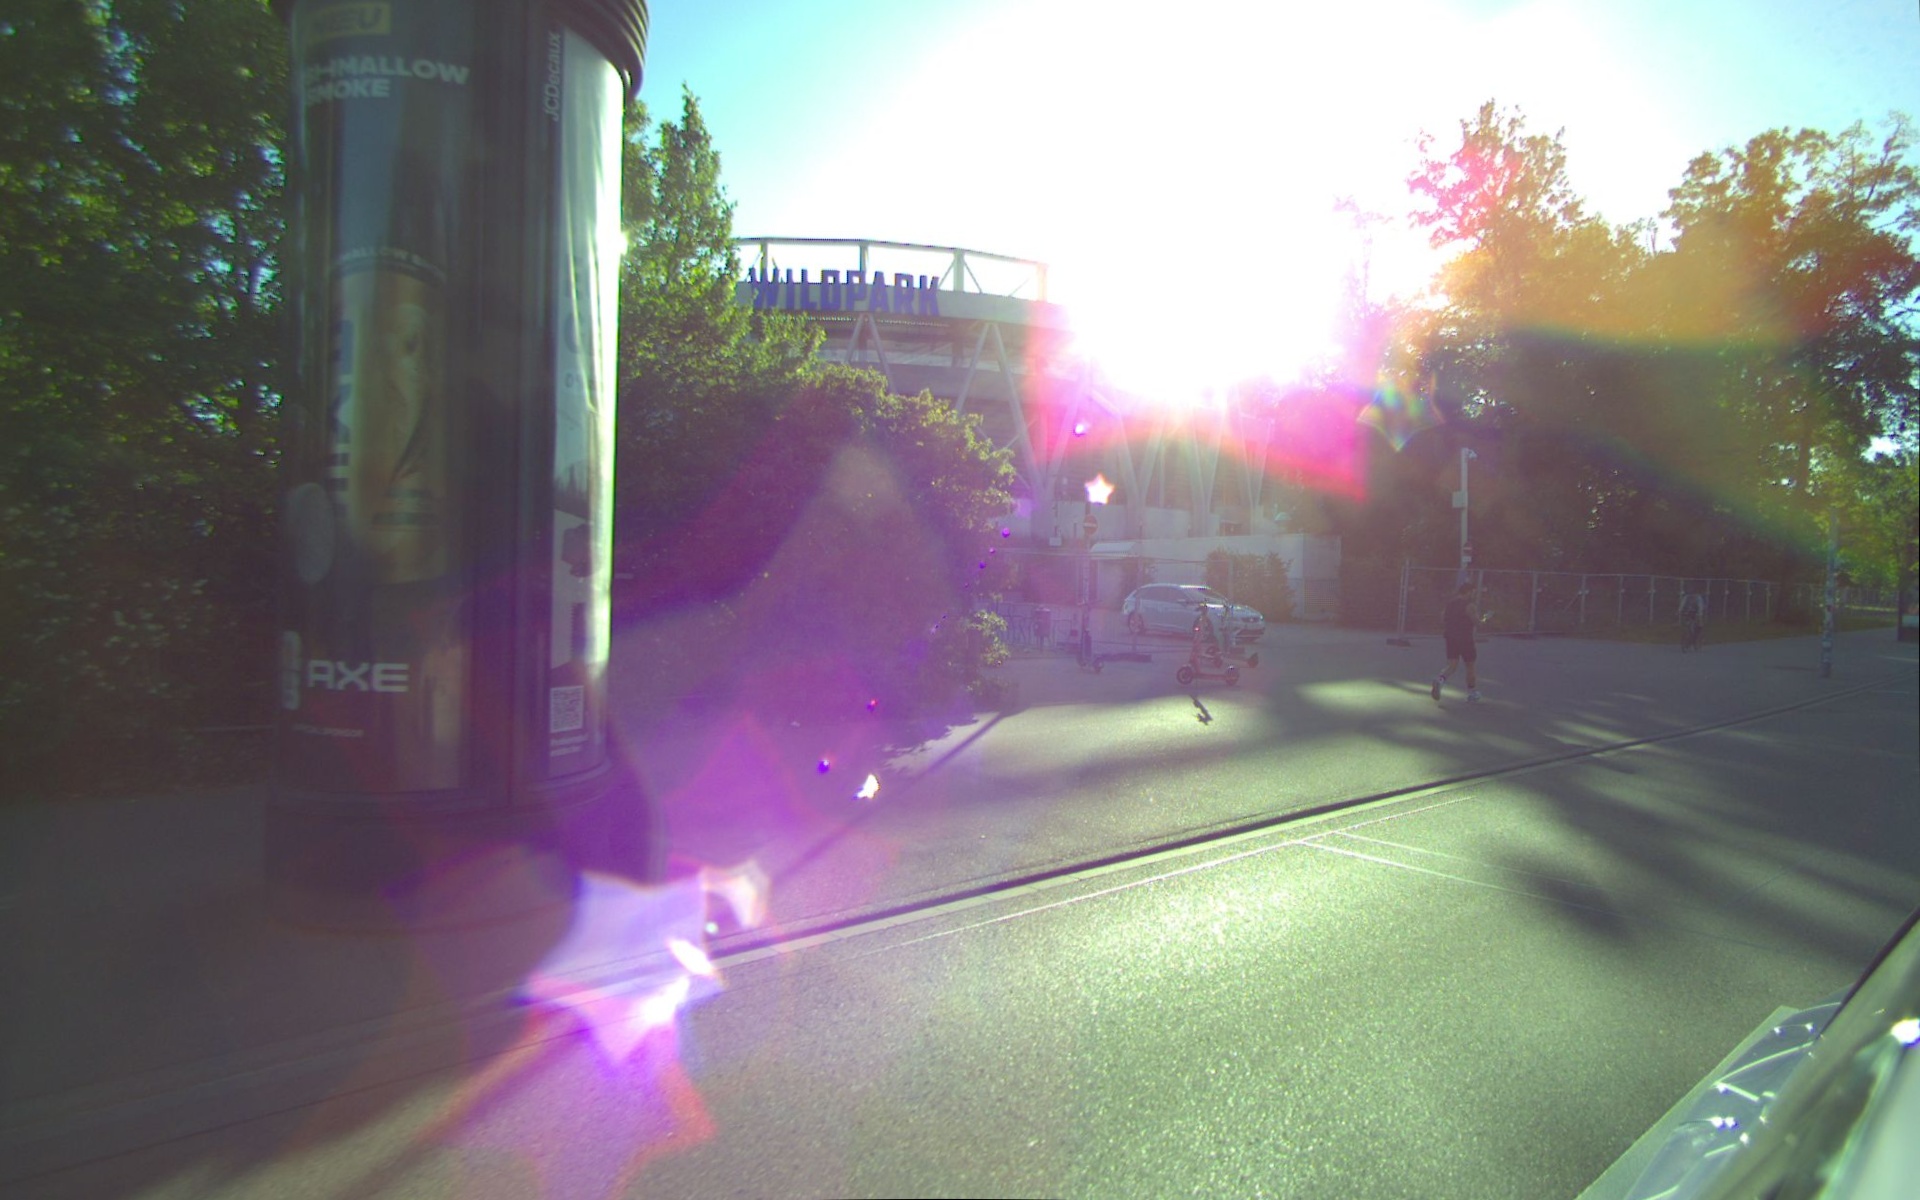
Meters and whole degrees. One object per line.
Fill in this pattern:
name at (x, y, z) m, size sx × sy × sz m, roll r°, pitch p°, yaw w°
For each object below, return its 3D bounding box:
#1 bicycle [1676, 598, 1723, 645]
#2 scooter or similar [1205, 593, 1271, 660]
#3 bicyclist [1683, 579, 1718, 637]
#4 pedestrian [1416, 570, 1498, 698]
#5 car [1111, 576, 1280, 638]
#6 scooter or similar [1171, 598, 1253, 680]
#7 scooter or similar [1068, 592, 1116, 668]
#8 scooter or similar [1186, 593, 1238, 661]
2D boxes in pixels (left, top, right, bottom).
bicycle at (19.381, 0.543, 26.507) m, size 1.831 × 1.151 × 0.555 m, roll 0°, pitch 2°, yaw -40°
scooter or similar at (5.215, 0.476, 19.028) m, size 0.386 × 1.160 × 1.271 m, roll -1°, pitch 3°, yaw -31°
bicyclist at (19.404, 0.200, 26.509) m, size 0.846 × 1.487 × 0.521 m, roll 0°, pitch 2°, yaw -40°
pedestrian at (6.906, 0.455, 14.065) m, size 0.865 × 1.710 × 0.628 m, roll 0°, pitch -1°, yaw -30°
car at (6.100, 0.117, 26.740) m, size 1.784 × 1.395 × 4.392 m, roll 0°, pitch 3°, yaw -31°
scooter or similar at (3.806, 0.574, 15.248) m, size 1.381 × 1.186 × 0.282 m, roll 1°, pitch 1°, yaw -31°
scooter or similar at (2.227, 0.483, 17.162) m, size 0.386 × 1.181 × 1.446 m, roll 0°, pitch 2°, yaw -10°
scooter or similar at (4.672, 0.477, 18.813) m, size 0.386 × 1.181 × 1.251 m, roll 0°, pitch 2°, yaw -14°
